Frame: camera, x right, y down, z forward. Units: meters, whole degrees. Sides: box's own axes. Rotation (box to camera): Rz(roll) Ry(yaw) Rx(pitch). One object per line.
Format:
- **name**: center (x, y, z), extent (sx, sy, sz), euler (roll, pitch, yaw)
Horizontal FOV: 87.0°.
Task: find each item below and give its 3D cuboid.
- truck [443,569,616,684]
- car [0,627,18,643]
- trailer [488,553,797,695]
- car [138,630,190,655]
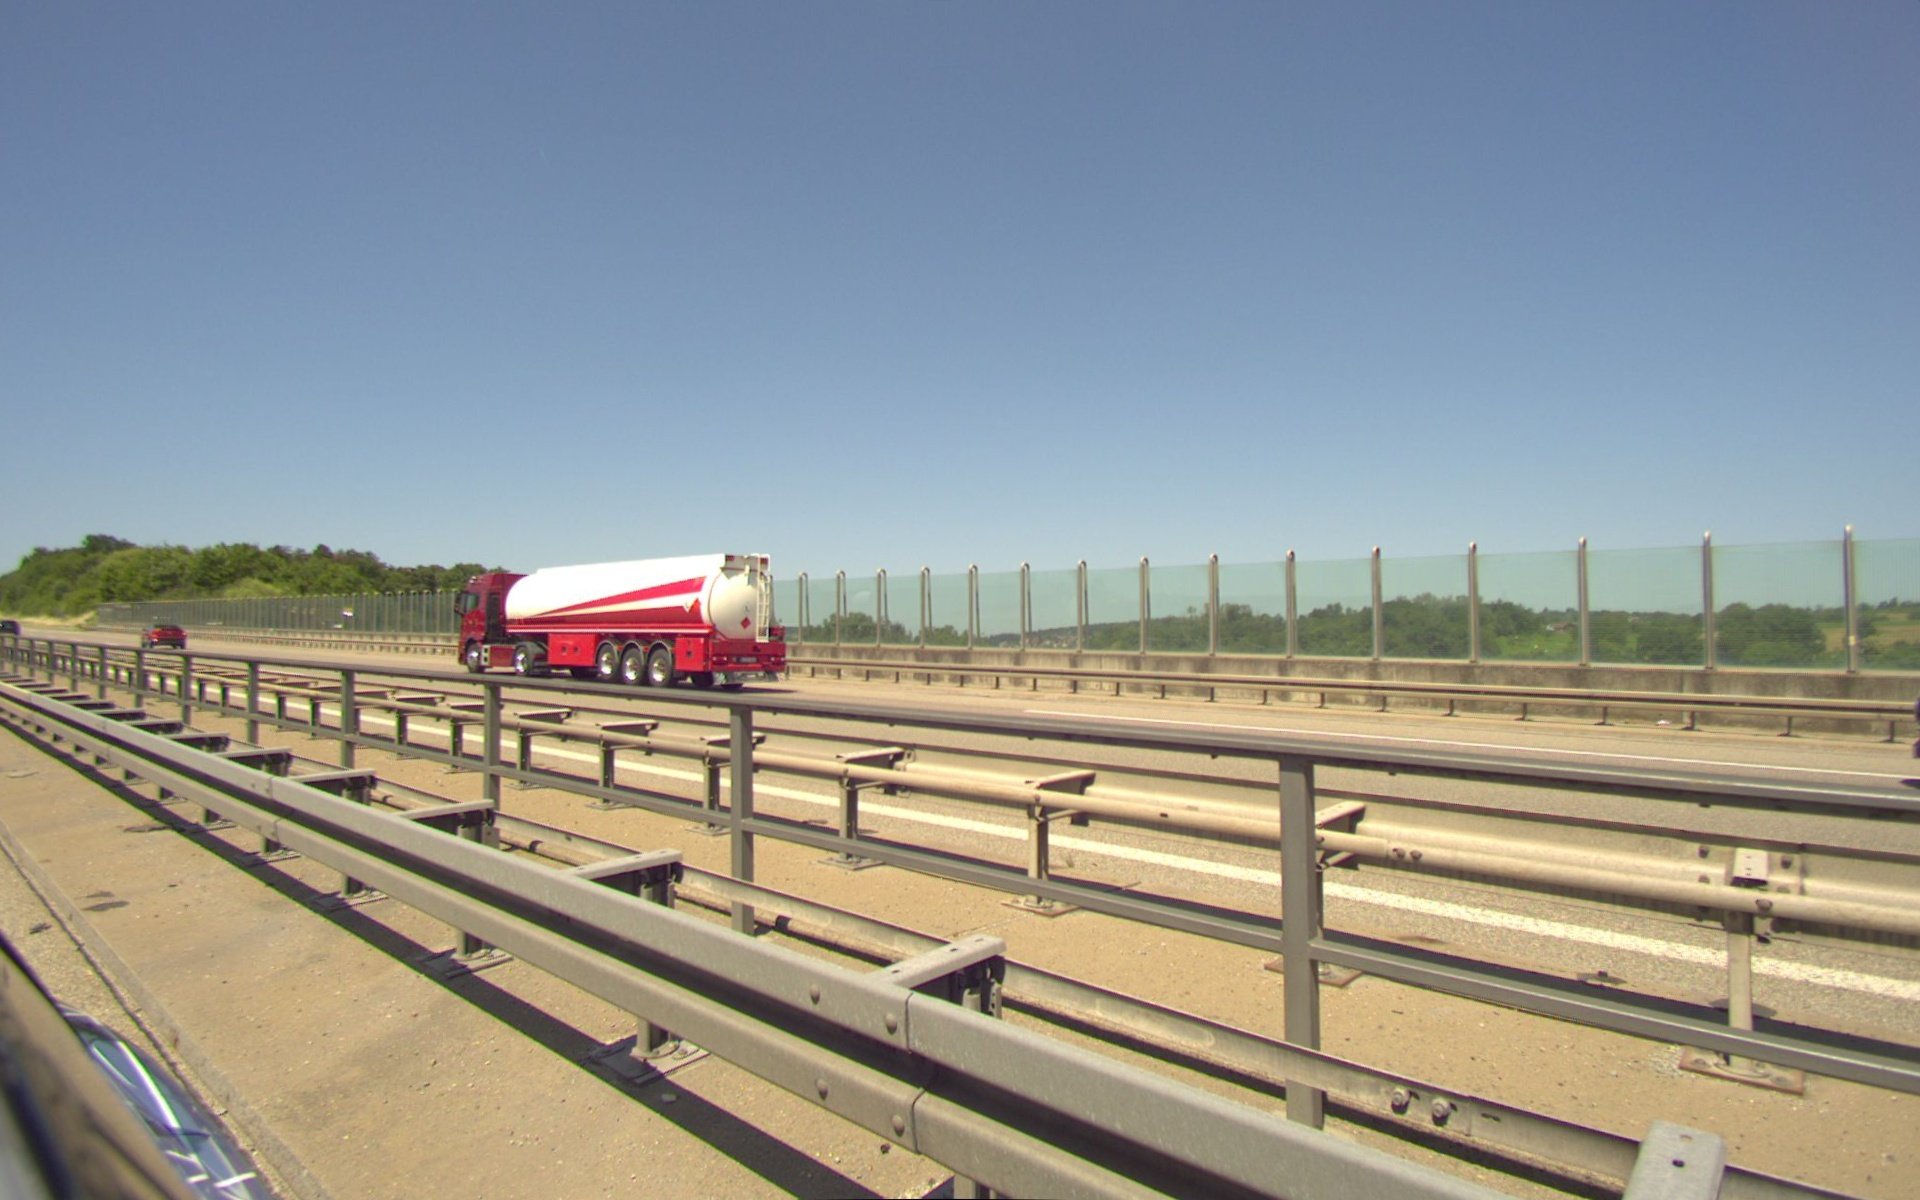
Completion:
- **truck**: center (-14.418, 0.881, 33.698), extent (6.294, 3.441, 2.877), euler (-1, -3, 43)
- **car**: center (-91.746, 3.337, 96.995), extent (3.999, 1.431, 1.681), euler (-1, -4, 42)
- **trailer**: center (-9.672, 0.691, 29.402), extent (12.005, 3.405, 2.845), euler (-1, -4, 43)
- **car**: center (-48.104, 2.560, 61.120), extent (3.999, 1.431, 1.763), euler (-1, -4, 42)
